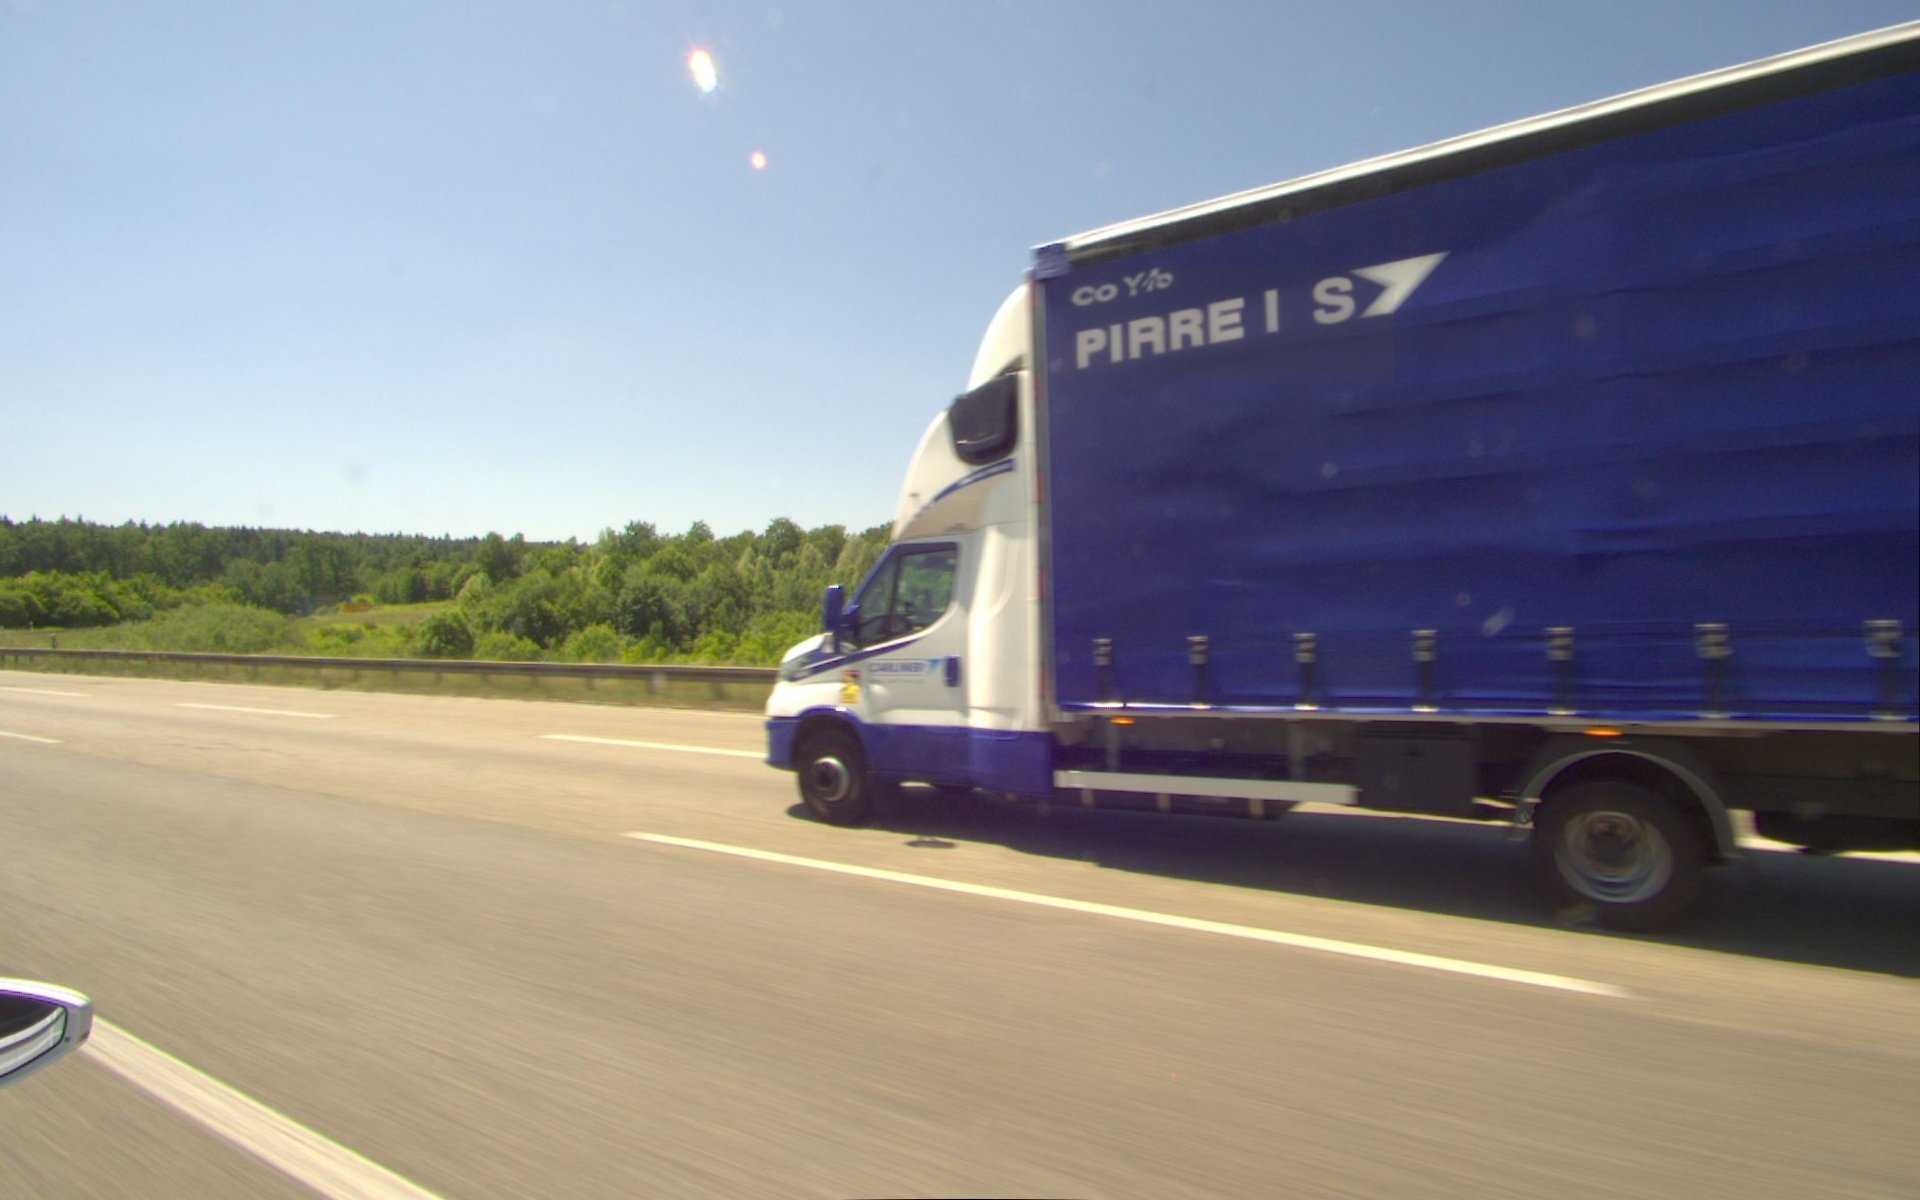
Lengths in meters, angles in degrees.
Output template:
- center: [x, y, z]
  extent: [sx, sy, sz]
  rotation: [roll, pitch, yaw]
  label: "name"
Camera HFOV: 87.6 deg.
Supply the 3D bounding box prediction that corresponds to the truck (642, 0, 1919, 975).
- center: [2.304, -0.479, 6.652]
  extent: [9.597, 4.180, 2.780]
  rotation: [-1, -2, 31]
  label: "truck"
